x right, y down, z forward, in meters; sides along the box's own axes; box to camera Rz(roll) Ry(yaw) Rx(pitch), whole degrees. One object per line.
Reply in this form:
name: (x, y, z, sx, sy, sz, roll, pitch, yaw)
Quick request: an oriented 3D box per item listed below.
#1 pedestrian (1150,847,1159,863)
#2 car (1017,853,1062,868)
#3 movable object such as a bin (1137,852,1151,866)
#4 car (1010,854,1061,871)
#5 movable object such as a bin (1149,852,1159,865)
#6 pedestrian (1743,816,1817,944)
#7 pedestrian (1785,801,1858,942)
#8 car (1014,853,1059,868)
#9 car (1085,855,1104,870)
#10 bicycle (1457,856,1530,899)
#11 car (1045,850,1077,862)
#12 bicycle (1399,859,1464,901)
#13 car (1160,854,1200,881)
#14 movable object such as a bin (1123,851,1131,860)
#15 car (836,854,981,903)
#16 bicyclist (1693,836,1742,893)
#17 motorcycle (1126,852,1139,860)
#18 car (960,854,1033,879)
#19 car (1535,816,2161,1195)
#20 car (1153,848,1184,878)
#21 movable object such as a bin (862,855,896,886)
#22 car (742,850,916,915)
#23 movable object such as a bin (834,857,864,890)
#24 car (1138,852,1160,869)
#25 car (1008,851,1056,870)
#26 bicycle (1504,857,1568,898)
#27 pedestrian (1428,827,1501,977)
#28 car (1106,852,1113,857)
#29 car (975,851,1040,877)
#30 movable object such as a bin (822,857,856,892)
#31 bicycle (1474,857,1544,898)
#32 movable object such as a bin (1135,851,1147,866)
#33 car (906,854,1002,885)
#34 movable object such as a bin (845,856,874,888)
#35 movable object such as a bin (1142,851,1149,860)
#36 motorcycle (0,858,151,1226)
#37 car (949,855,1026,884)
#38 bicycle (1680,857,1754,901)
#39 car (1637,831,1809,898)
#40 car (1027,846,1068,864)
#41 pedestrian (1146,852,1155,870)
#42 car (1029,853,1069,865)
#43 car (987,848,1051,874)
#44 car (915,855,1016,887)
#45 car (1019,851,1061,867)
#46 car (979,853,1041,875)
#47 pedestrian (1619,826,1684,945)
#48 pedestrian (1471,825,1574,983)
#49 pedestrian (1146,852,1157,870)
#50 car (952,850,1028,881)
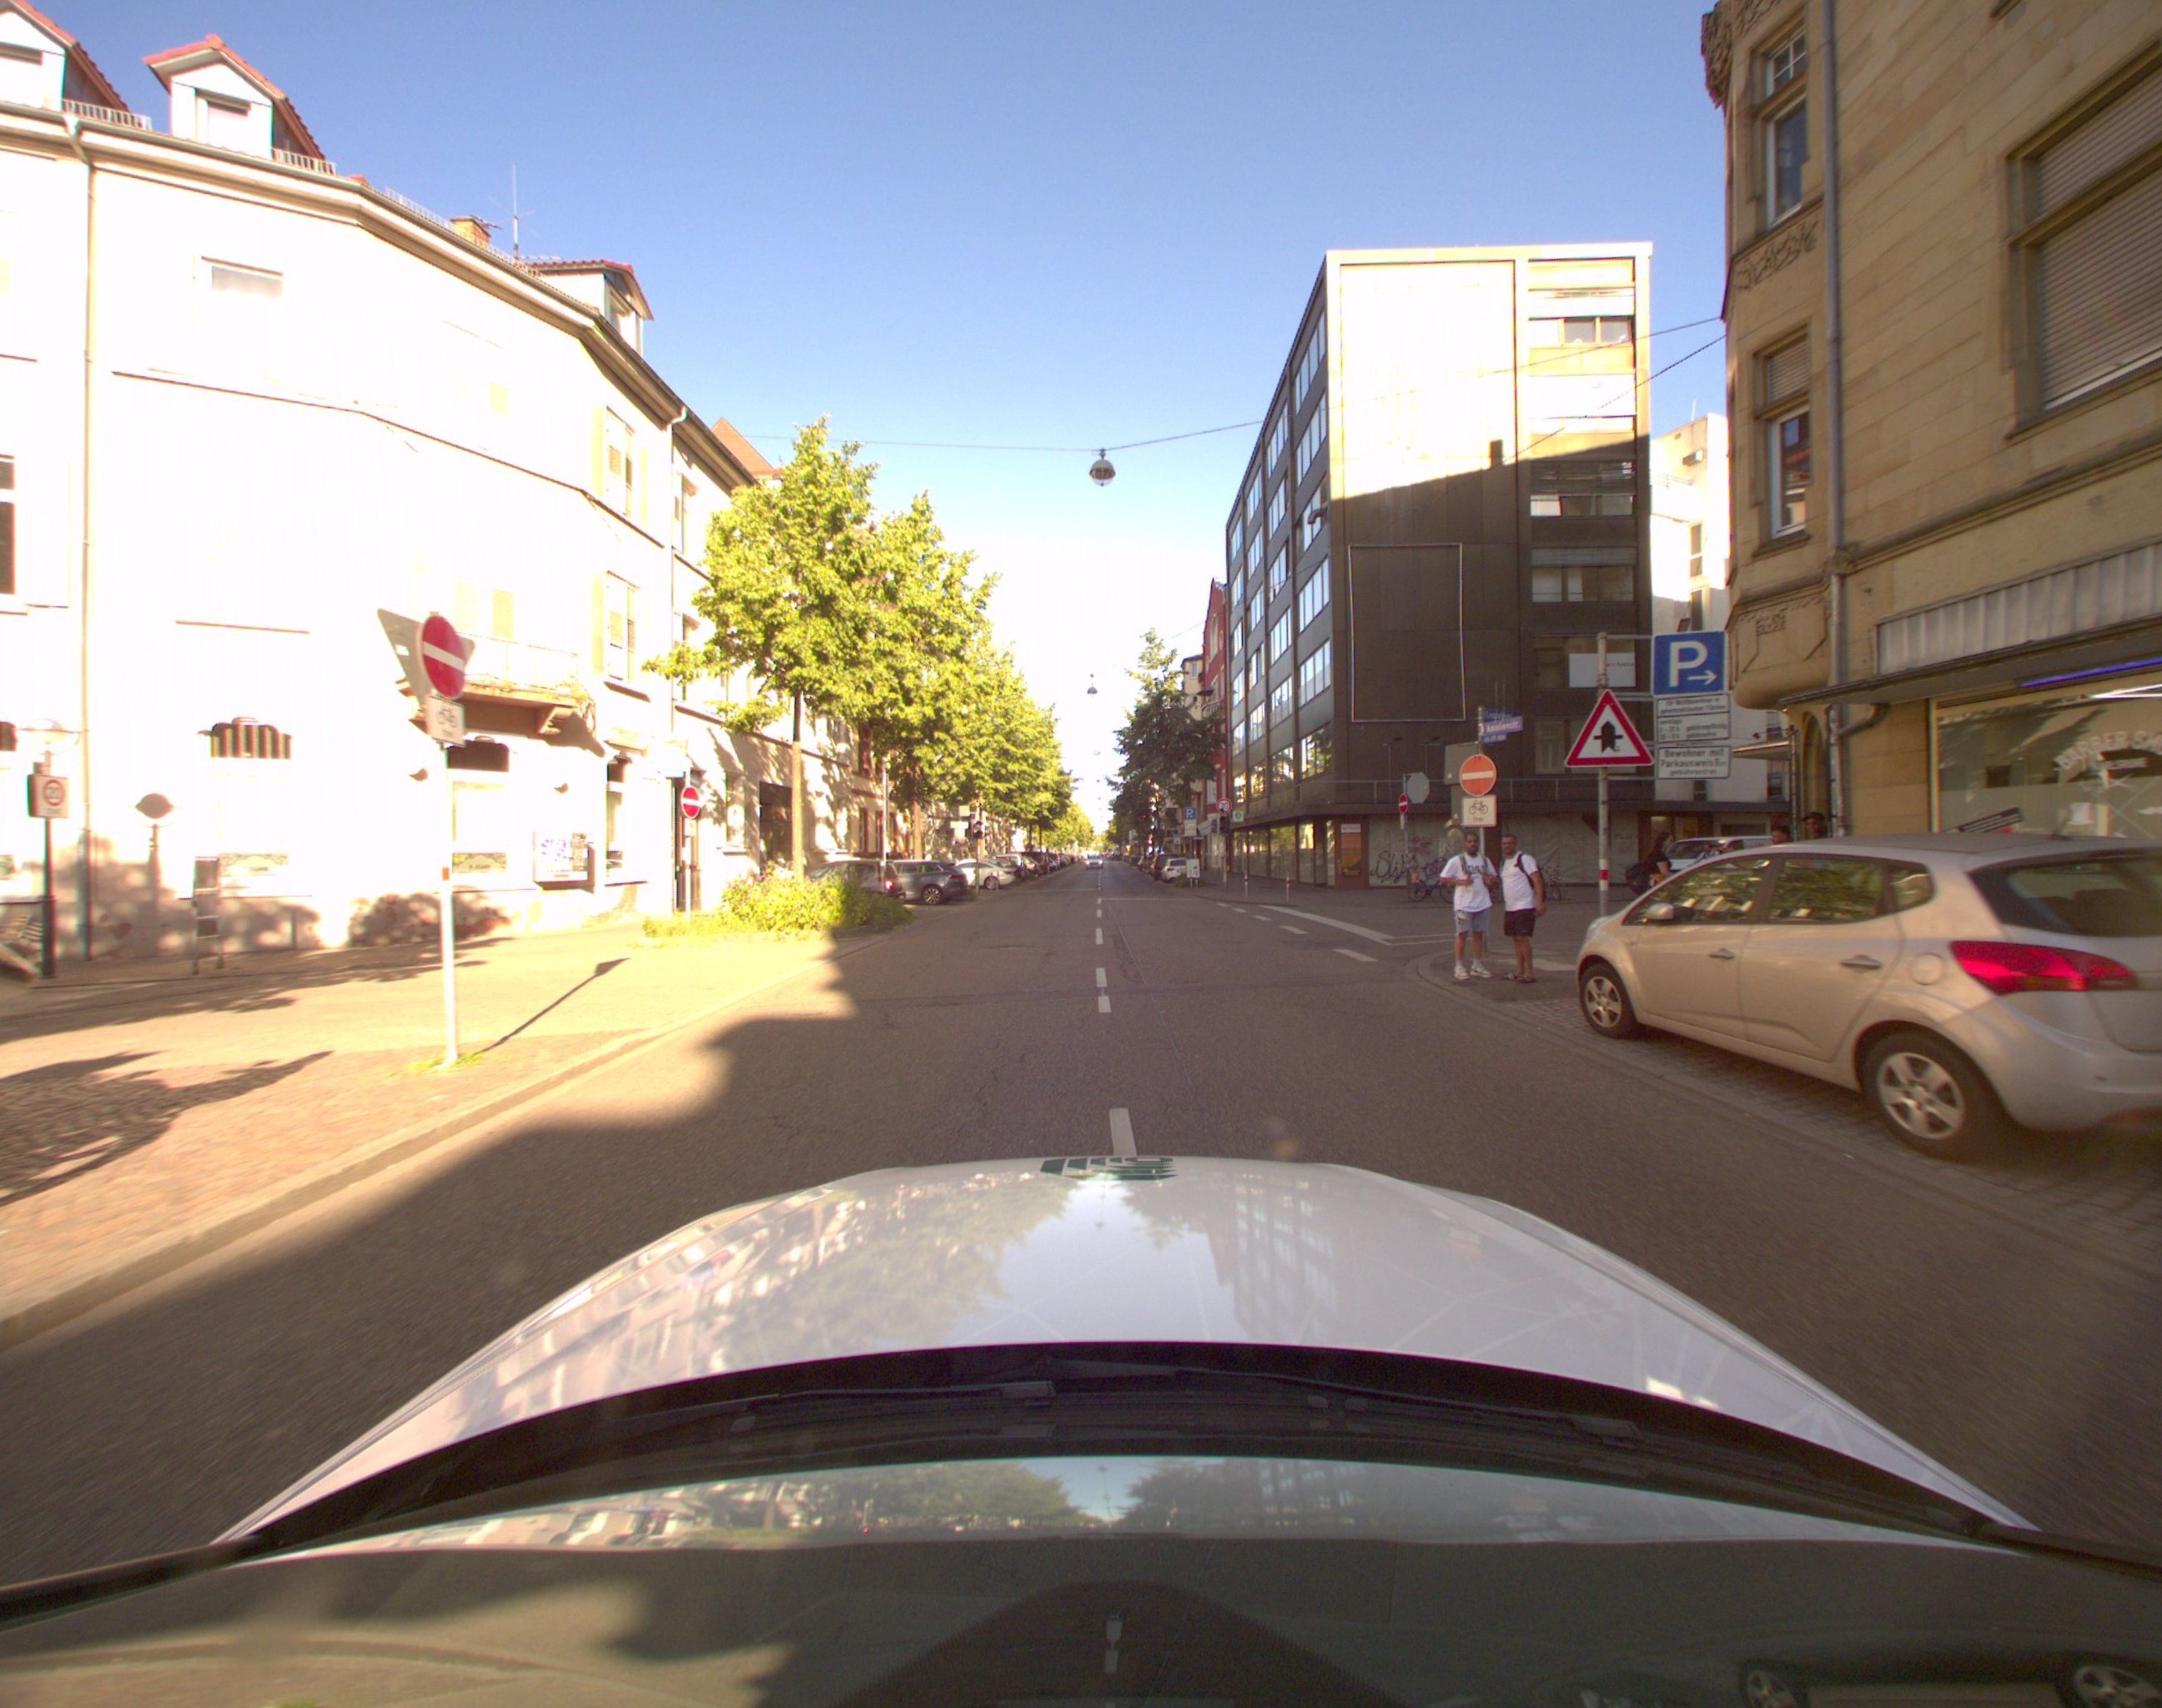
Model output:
pedestrian: (9.383, 0.140, 103.912, 0.916, 1.935, 0.765, -1, 0, 26)
car: (-4.278, 0.666, 84.890, 4.445, 1.541, 1.919, 0, 0, 5)
movable object such as a bin: (6.858, 0.512, 88.383, 1.394, 1.454, 1.146, -1, 0, 1)
car: (-4.178, 0.763, 75.176, 4.447, 1.541, 1.918, 0, 0, 3)
movable object such as a bin: (8.114, 0.483, 90.709, 1.073, 1.431, 1.296, -1, 0, 2)
pedestrian: (9.666, 0.350, 11.287, 0.611, 1.692, 0.720, -1, -1, 28)
pedestrian: (9.305, 0.216, 10.256, 0.493, 1.692, 0.720, -1, -1, 28)
car: (-4.452, 0.656, 82.136, 4.451, 1.541, 1.917, 0, 0, 0)
car: (1.525, 0.938, 90.668, 1.902, 1.544, 4.357, 0, 0, 3)
bicycle: (12.543, 0.683, 24.827, 0.574, 1.161, 2.000, -1, 3, -27)
car: (-2.953, 0.311, 121.563, 4.661, 1.693, 1.809, 0, 0, 2)
bicycle: (10.475, 0.754, 24.361, 0.576, 1.161, 1.725, -2, 1, -38)
car: (5.733, 0.737, 47.620, 1.815, 1.402, 4.844, -3, 0, 2)
movable object such as a bin: (8.407, 0.262, 148.932, 1.135, 1.562, 1.463, -2, 0, 10)
car: (-5.637, 0.792, 26.968, 4.321, 1.544, 1.946, 0, 0, 3)
bicyclist: (17.293, 0.278, 22.126, 0.890, 1.525, 0.664, 0, 0, -20)
motorcycle: (8.719, 0.370, 138.585, 1.978, 1.330, 0.908, -1, 0, -11)
car: (-5.397, 0.819, 52.224, 4.318, 1.544, 1.919, 0, 0, 5)
car: (5.214, 0.624, 5.552, 1.966, 1.574, 4.128, -3, 0, 2)
car: (5.777, 0.572, 54.053, 1.813, 1.777, 4.938, -3, 0, 5)
movable object such as a bin: (-9.519, 0.752, 38.447, 1.128, 1.444, 1.383, 0, 0, 5)
car: (-6.617, 0.728, 21.709, 3.970, 1.640, 1.946, 0, 0, 3)
movable object such as a bin: (-9.791, 0.804, 34.402, 0.825, 1.355, 1.250, 0, 0, 5)
car: (6.617, 0.585, 79.839, 1.815, 1.472, 4.913, -3, 0, 2)
car: (-4.618, 0.600, 77.388, 4.323, 1.709, 1.917, 0, 0, 1)
bicycle: (14.102, 0.700, 25.306, 0.574, 1.132, 1.733, -1, 3, -23)
pedestrian: (4.648, 0.558, 9.877, 0.686, 1.719, 0.900, -3, 0, 26)
car: (7.767, 0.129, 220.354, 1.786, 1.411, 4.001, -1, 0, 1)
car: (-5.055, 0.709, 56.740, 4.326, 1.733, 1.916, 0, 0, -1)
movable object such as a bin: (-9.841, 0.813, 33.121, 0.905, 1.367, 1.262, 0, 0, 5)
bicycle: (13.161, 0.698, 25.120, 0.574, 1.132, 1.910, -1, 3, -27)
movable object such as a bin: (6.695, 0.485, 90.730, 1.325, 1.542, 1.146, -1, 0, 1)
car: (-6.496, 0.774, 42.084, 4.689, 1.492, 1.998, 0, 1, -4)
movable object such as a bin: (-9.702, 0.789, 35.726, 0.813, 1.362, 1.347, 0, 0, 5)
movable object such as a bin: (11.592, 0.317, 146.306, 1.202, 1.627, 1.498, -2, 0, 0)
motorcycle: (-5.261, 0.740, 3.613, 2.292, 1.423, 1.007, 0, 0, 28)
car: (-5.401, 0.868, 46.774, 4.340, 1.544, 1.957, 0, 0, -10)
bicycle: (17.266, 0.668, 22.112, 1.944, 1.158, 0.664, 0, 0, -20)
car: (20.084, 0.288, 25.472, 4.957, 1.929, 2.102, -1, 0, -23)
car: (-3.879, 0.112, 94.577, 4.661, 1.950, 1.918, 0, 0, 2)
pedestrian: (6.086, 0.569, 71.093, 0.648, 1.536, 0.980, -1, 0, 0)
car: (-3.795, 0.590, 97.887, 4.629, 1.459, 1.684, 0, 0, 1)
car: (-4.647, 0.543, 61.741, 4.553, 1.927, 1.932, 0, 0, 3)
car: (-5.561, 0.821, 39.709, 4.689, 1.492, 1.997, 0, -1, -4)
car: (-4.603, 0.535, 91.642, 4.448, 1.772, 1.918, 0, 0, 2)
car: (-5.129, 0.714, 59.166, 4.326, 1.595, 1.916, 0, 0, -1)
pedestrian: (8.446, 0.460, 12.060, 0.679, 1.692, 0.611, 0, -3, -45)
pedestrian: (5.087, 0.554, 9.404, 0.699, 1.719, 0.690, -3, 0, -22)
pedestrian: (6.040, 0.603, 69.780, 0.743, 1.536, 0.811, -1, 0, 16)
car: (-5.501, 0.678, 49.501, 4.321, 1.824, 1.932, 0, 0, 3)
